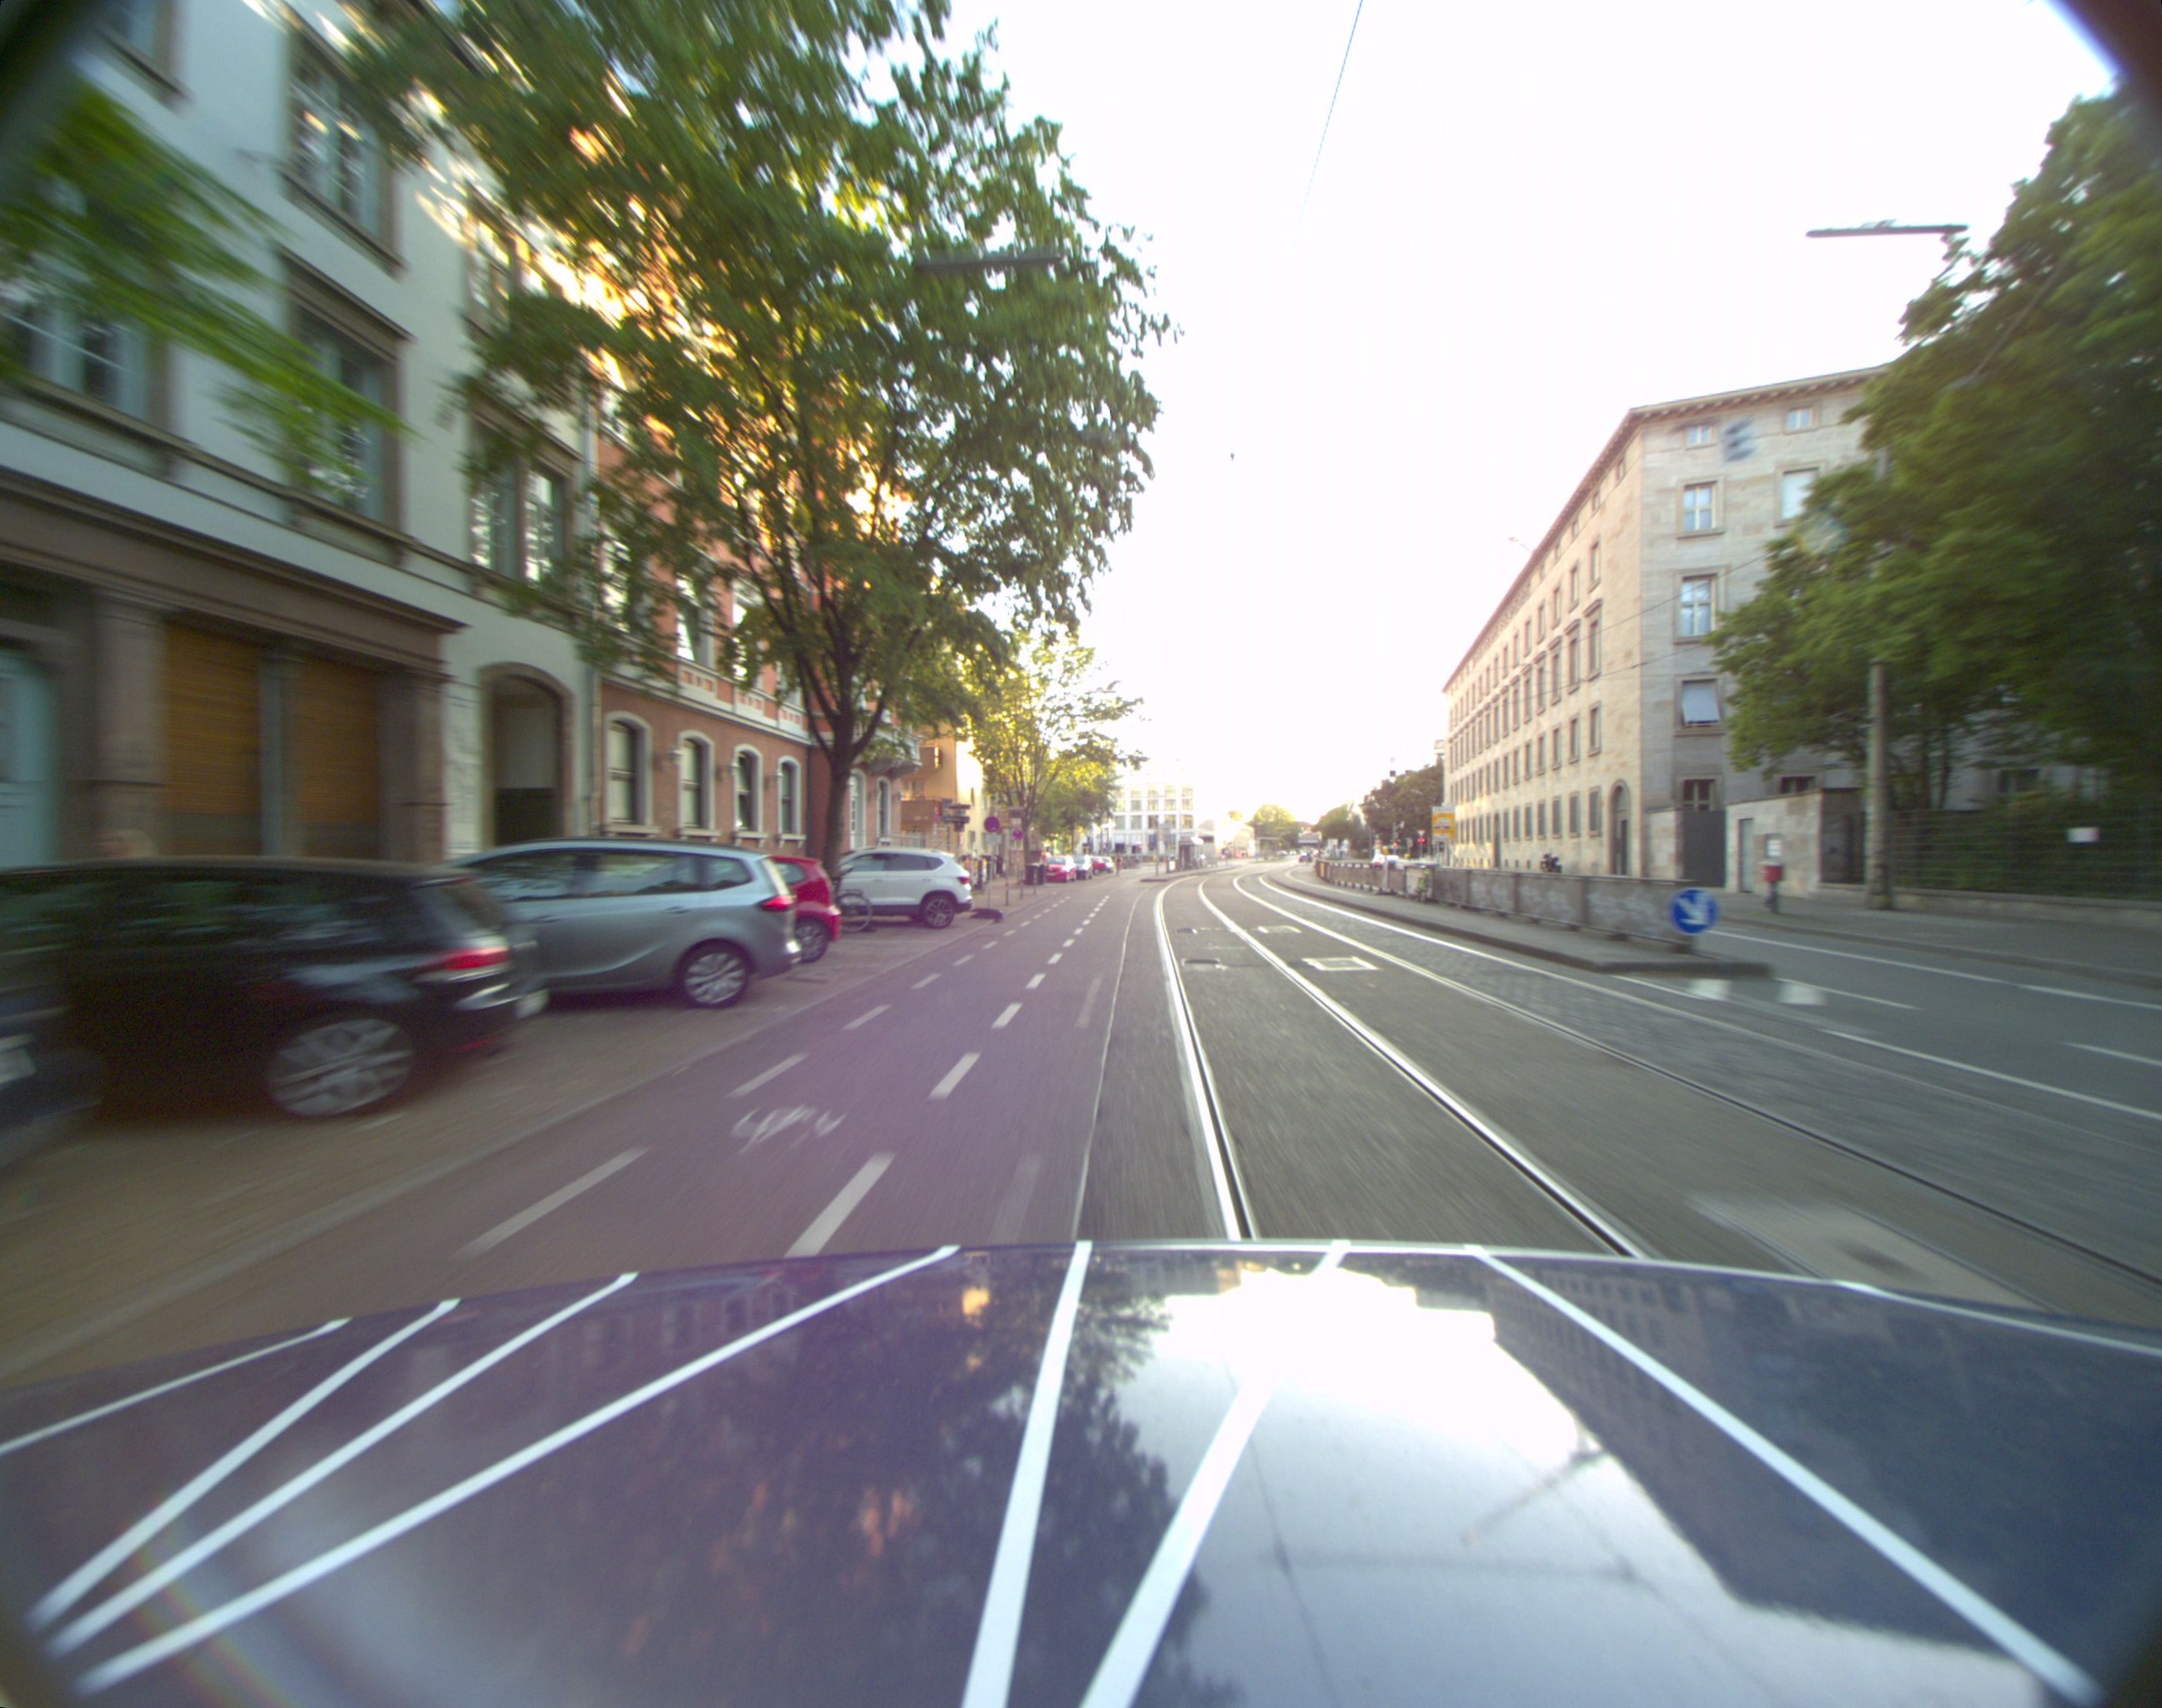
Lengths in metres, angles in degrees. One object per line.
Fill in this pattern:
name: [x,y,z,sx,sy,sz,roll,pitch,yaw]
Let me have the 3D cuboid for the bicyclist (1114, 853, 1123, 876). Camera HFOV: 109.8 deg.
bicyclist: [2.787,0.768,55.963,0.610,1.626,0.597,-1,0,4]

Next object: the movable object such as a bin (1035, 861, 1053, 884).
movable object such as a bin: [-1.940,0.948,39.556,0.624,1.147,0.714,-1,1,-42]

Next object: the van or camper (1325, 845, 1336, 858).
van or camper: [51.780,-0.483,157.531,2.107,2.665,4.719,-1,-2,20]

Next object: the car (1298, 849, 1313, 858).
car: [36.419,-0.095,123.249,1.694,1.412,4.181,0,0,26]

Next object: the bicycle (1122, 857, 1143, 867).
bicycle: [5.785,0.926,85.211,2.232,1.125,0.745,0,1,20]

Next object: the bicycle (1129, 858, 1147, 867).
bicycle: [6.443,0.950,86.054,1.860,1.068,0.746,-1,0,36]

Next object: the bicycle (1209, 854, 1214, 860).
bicycle: [22.312,0.505,129.886,0.539,1.045,1.763,-1,0,19]

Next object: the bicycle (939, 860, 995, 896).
bicycle: [-4.114,0.867,27.562,1.921,1.259,0.600,0,1,-30]

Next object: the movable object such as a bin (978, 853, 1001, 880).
movable object such as a bin: [-5.268,0.690,43.591,1.074,1.493,1.319,-1,0,3]

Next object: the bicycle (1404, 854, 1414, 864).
bicycle: [32.793,0.514,76.026,0.742,1.011,1.763,-1,0,19]

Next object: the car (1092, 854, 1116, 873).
car: [2.079,0.799,66.710,1.683,1.544,4.002,2,1,7]

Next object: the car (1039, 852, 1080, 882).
car: [-1.180,0.692,42.479,1.567,1.527,3.695,1,1,10]

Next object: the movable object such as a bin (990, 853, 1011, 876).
movable object such as a bin: [-5.263,0.663,49.677,1.115,1.493,1.482,-1,0,4]

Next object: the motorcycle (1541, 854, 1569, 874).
motorcycle: [26.462,0.560,42.482,0.699,1.068,2.657,0,0,18]

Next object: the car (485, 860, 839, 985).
car: [-5.559,0.869,10.582,3.960,1.468,1.827,2,-1,-24]

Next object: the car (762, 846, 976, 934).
car: [-4.335,0.711,15.593,3.961,1.617,1.670,2,0,-26]

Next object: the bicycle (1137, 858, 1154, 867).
bicycle: [7.189,0.943,84.401,1.757,1.068,0.745,-1,0,20]

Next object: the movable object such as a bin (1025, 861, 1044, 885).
movable object such as a bin: [-2.298,0.918,37.485,0.794,1.147,0.589,-1,1,17]

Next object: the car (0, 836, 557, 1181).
car: [-5.632,0.756,4.410,3.961,1.594,1.743,4,0,-26]

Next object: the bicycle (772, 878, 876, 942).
bicycle: [-4.491,0.989,13.339,1.671,1.068,0.463,3,0,-19]

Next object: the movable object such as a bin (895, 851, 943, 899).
movable object such as a bin: [-5.224,0.656,24.542,1.143,1.493,1.399,-1,0,4]

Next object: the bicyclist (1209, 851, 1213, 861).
bicyclist: [22.255,0.311,129.746,0.540,1.626,0.598,0,1,18]

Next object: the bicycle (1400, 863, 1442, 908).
bicycle: [8.727,0.792,19.567,0.463,1.069,2.023,0,0,9]

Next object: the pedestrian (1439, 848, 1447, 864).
pedestrian: [40.546,0.231,85.100,0.696,1.700,0.647,-1,1,21]

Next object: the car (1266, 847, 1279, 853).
car: [58.209,-1.261,230.642,3.801,1.639,1.866,-1,0,18]

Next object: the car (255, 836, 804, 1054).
car: [-5.023,0.735,7.593,3.961,1.659,1.897,2,1,-29]

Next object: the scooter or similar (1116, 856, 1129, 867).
scooter or similar: [4.441,0.801,80.927,1.201,1.218,0.592,1,1,18]

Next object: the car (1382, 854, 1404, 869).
car: [29.284,0.685,71.329,1.644,1.419,3.710,0,0,18]

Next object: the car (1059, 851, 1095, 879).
car: [-0.205,0.668,48.279,1.746,1.622,4.090,1,1,8]

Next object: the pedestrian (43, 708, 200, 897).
pedestrian: [-8.557,-0.435,6.800,0.587,1.600,0.625,-1,1,5]

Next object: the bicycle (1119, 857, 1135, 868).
bicycle: [4.984,0.943,81.678,1.527,1.156,0.745,-1,0,20]

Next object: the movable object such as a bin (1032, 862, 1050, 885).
movable object such as a bin: [-1.991,0.980,38.048,0.713,1.147,0.589,-1,0,17]

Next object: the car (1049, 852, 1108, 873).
car: [-0.187,0.628,58.093,4.215,1.445,1.642,-1,0,-25]

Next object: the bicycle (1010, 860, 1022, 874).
bicycle: [-4.869,0.959,57.041,0.652,1.068,1.556,-1,0,4]

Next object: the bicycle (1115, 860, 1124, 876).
bicycle: [2.826,1.034,56.124,0.609,1.108,2.087,-1,0,4]

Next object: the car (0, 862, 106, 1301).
car: [-5.537,0.794,1.530,3.961,1.594,1.836,2,1,-27]

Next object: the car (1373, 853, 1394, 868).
car: [30.891,0.657,77.703,1.644,1.419,4.238,1,1,18]

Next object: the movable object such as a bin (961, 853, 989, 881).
movable object such as a bin: [-5.774,0.718,41.521,1.143,1.493,1.598,-1,0,4]

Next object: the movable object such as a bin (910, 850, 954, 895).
movable object such as a bin: [-5.073,0.614,25.973,1.143,1.493,1.399,-1,0,4]

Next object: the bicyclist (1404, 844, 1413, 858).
bicyclist: [32.883,-0.306,76.242,0.757,1.432,0.598,-1,0,18]

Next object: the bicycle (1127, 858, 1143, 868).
bicycle: [5.894,0.962,82.804,1.552,1.068,0.745,-1,0,20]
